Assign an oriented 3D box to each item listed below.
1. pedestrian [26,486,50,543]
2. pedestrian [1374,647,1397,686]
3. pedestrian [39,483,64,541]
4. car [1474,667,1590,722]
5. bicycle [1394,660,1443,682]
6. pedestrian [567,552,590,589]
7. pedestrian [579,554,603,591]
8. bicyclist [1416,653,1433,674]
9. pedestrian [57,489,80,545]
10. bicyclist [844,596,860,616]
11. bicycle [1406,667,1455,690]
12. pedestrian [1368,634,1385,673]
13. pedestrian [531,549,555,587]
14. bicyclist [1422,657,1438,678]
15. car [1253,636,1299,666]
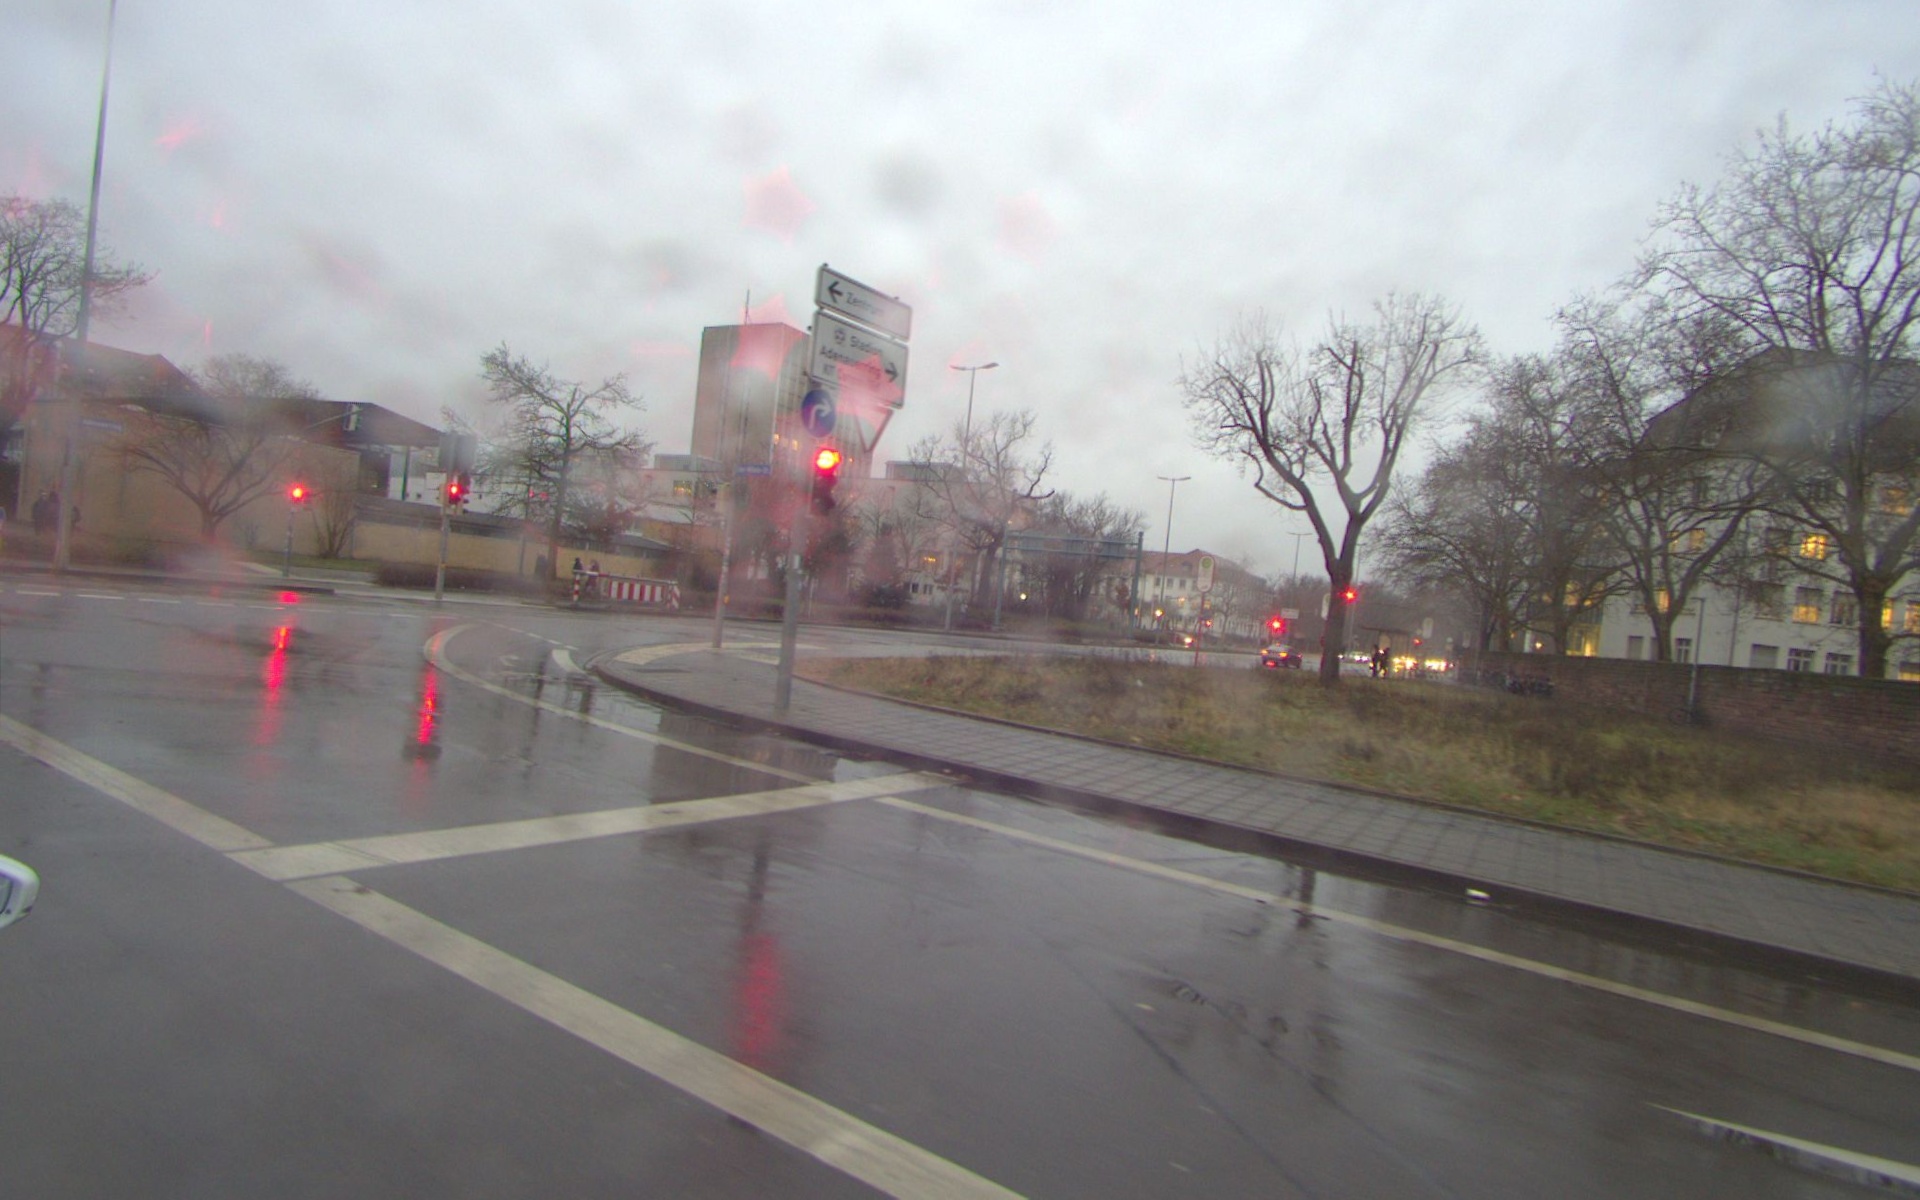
[{"bbox_3d":[-31.257,-2.885,34.101,0.436,1.860,0.455,7,-1,-40],"label":"pedestrian"},{"bbox_3d":[21.541,3.353,50.895,0.823,1.857,0.667,5,-1,34],"label":"pedestrian"},{"bbox_3d":[-30.305,-2.924,33.569,0.456,1.860,0.434,7,-1,-41],"label":"pedestrian"},{"bbox_3d":[13.680,2.264,24.051,2.656,0.989,1.290,7,1,-34],"label":"car"},{"bbox_3d":[25.598,3.955,56.183,2.373,1.003,0.537,4,-2,31],"label":"bicycle"},{"bbox_3d":[-19.321,-1.500,50.937,0.749,1.745,0.623,5,-2,38],"label":"pedestrian"},{"bbox_3d":[-18.342,-1.347,50.009,0.749,1.745,0.623,5,-2,38],"label":"pedestrian"},{"bbox_3d":[25.676,3.503,55.610,0.690,1.092,0.494,5,-2,32],"label":"bicyclist"},{"bbox_3d":[-30.792,-2.868,34.761,0.435,1.860,0.455,6,-1,-40],"label":"pedestrian"},{"bbox_3d":[-7.110,0.385,66.166,0.599,1.261,0.698,5,-2,40],"label":"bicyclist"},{"bbox_3d":[25.851,4.326,55.293,2.373,1.003,0.479,4,-2,31],"label":"bicycle"},{"bbox_3d":[20.541,2.636,49.631,0.633,1.857,0.836,5,-1,23],"label":"pedestrian"},{"bbox_3d":[-20.243,-1.546,48.840,0.749,1.745,0.623,5,-2,38],"label":"pedestrian"},{"bbox_3d":[26.106,3.729,55.846,0.690,1.092,0.494,5,-2,32],"label":"bicyclist"},{"bbox_3d":[21.495,3.466,68.455,1.861,1.670,3.636,4,-3,35],"label":"car"}]
